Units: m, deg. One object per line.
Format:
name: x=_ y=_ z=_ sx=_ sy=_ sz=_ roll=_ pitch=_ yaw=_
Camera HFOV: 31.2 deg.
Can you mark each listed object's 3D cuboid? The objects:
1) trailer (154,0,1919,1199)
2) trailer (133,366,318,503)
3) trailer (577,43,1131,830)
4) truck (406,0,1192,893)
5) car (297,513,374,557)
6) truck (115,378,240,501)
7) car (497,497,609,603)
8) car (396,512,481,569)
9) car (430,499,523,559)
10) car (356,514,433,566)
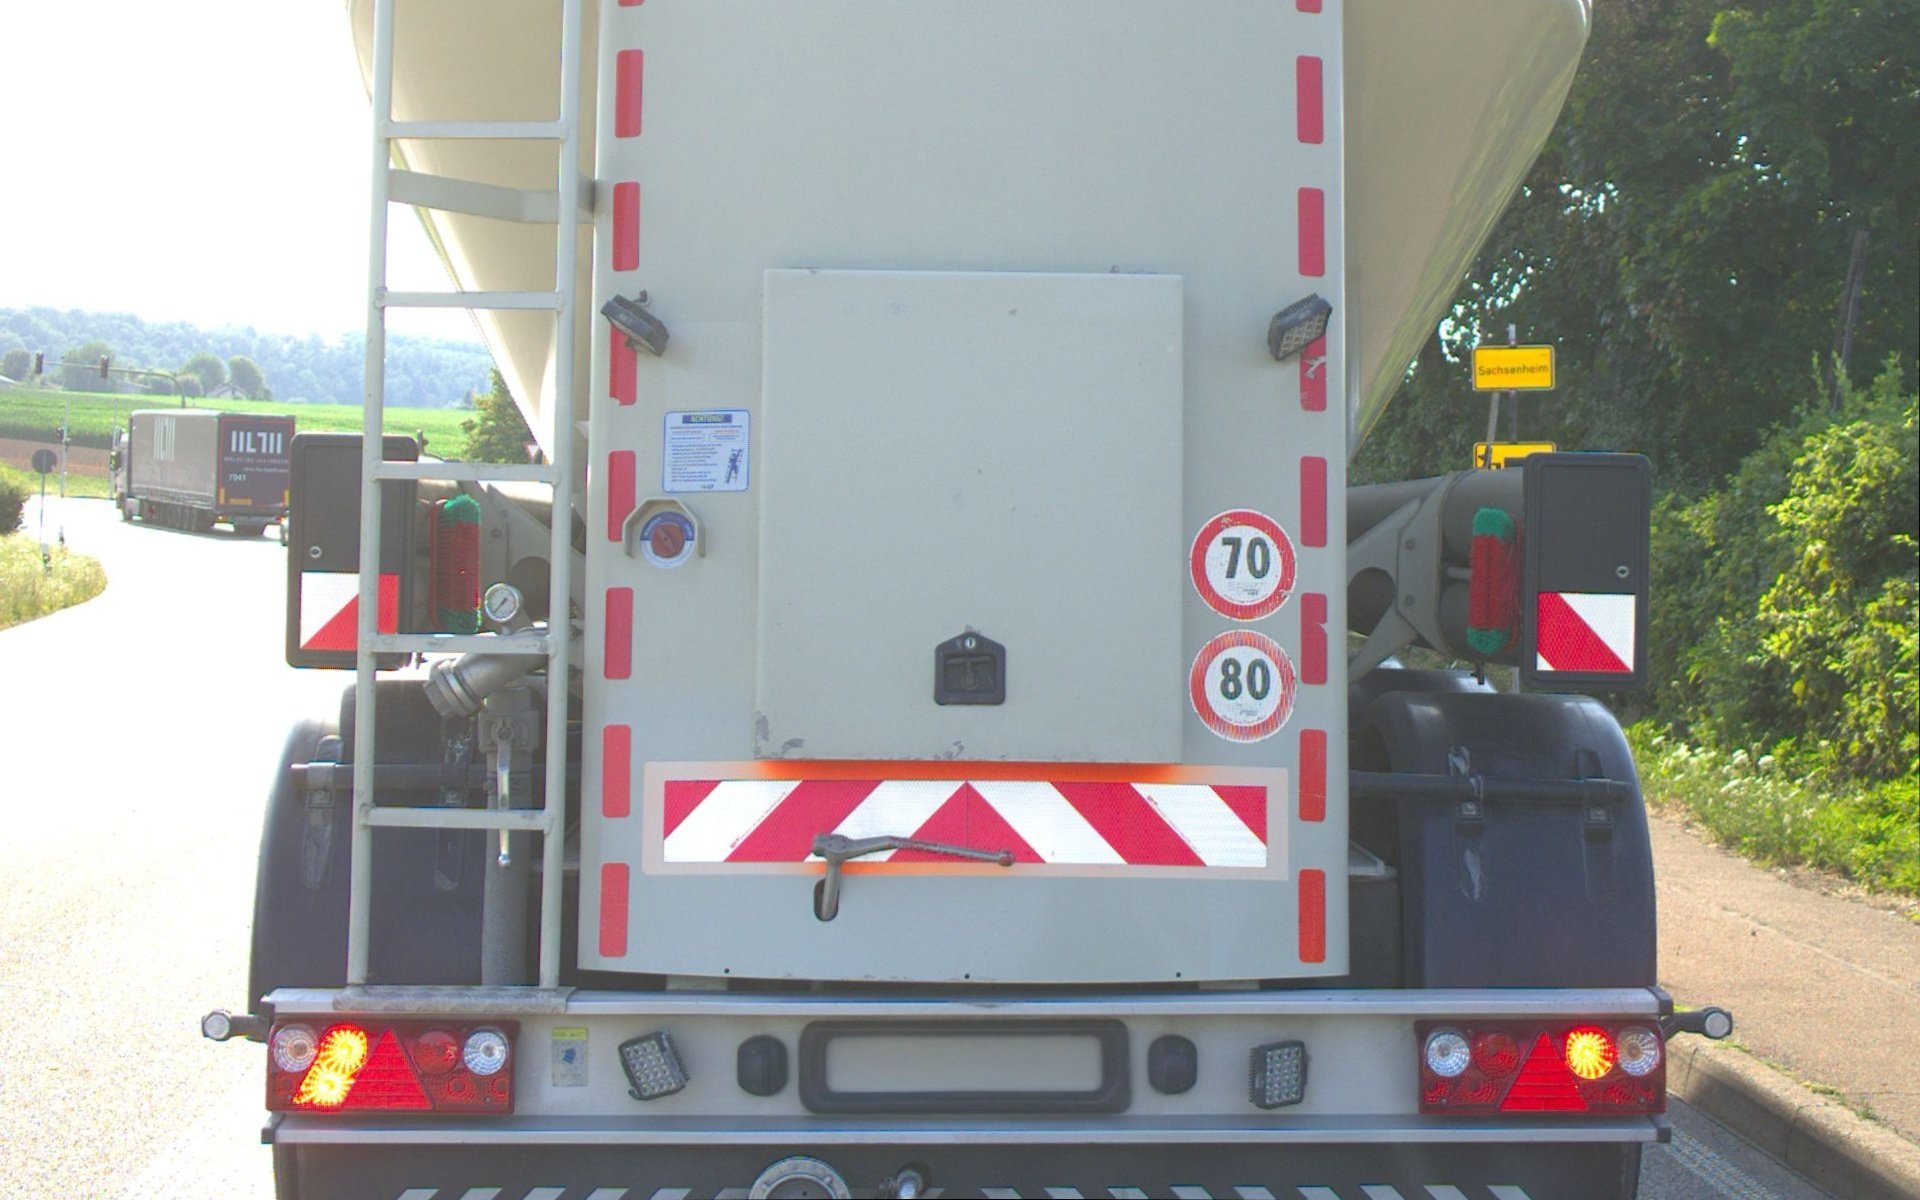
trailer: x=-0.333 y=-0.838 z=10.476 sx=2.909 sy=3.992 sz=9.932 roll=1 pitch=1 yaw=-6
trailer: x=-25.676 y=-5.650 z=119.430 sx=3.375 sy=4.335 sz=14.297 roll=2 pitch=1 yaw=-24
trailer: x=-0.648 y=-1.057 z=26.326 sx=2.955 sy=4.300 sz=14.176 roll=2 pitch=1 yaw=0
truck: x=-0.805 y=-0.936 z=14.896 sx=2.909 sy=3.992 sz=4.061 roll=1 pitch=1 yaw=-6
car: x=-18.569 y=-1.940 z=102.135 sx=1.769 sy=1.201 sz=3.427 roll=-3 pitch=3 yaw=-18
truck: x=-28.945 y=-5.886 z=126.983 sx=3.375 sy=4.335 sz=5.707 roll=2 pitch=1 yaw=-24
car: x=-7.982 y=-0.996 z=67.170 sx=1.861 sy=2.007 sz=3.720 roll=1 pitch=1 yaw=-11
car: x=-13.320 y=-1.529 z=87.656 sx=1.580 sy=1.336 sz=3.427 roll=2 pitch=1 yaw=-18
car: x=-11.485 y=-1.689 z=81.500 sx=1.580 sy=1.336 sz=3.427 roll=2 pitch=1 yaw=-18
car: x=-15.770 y=-1.678 z=95.789 sx=1.580 sy=1.336 sz=3.427 roll=2 pitch=1 yaw=-18
